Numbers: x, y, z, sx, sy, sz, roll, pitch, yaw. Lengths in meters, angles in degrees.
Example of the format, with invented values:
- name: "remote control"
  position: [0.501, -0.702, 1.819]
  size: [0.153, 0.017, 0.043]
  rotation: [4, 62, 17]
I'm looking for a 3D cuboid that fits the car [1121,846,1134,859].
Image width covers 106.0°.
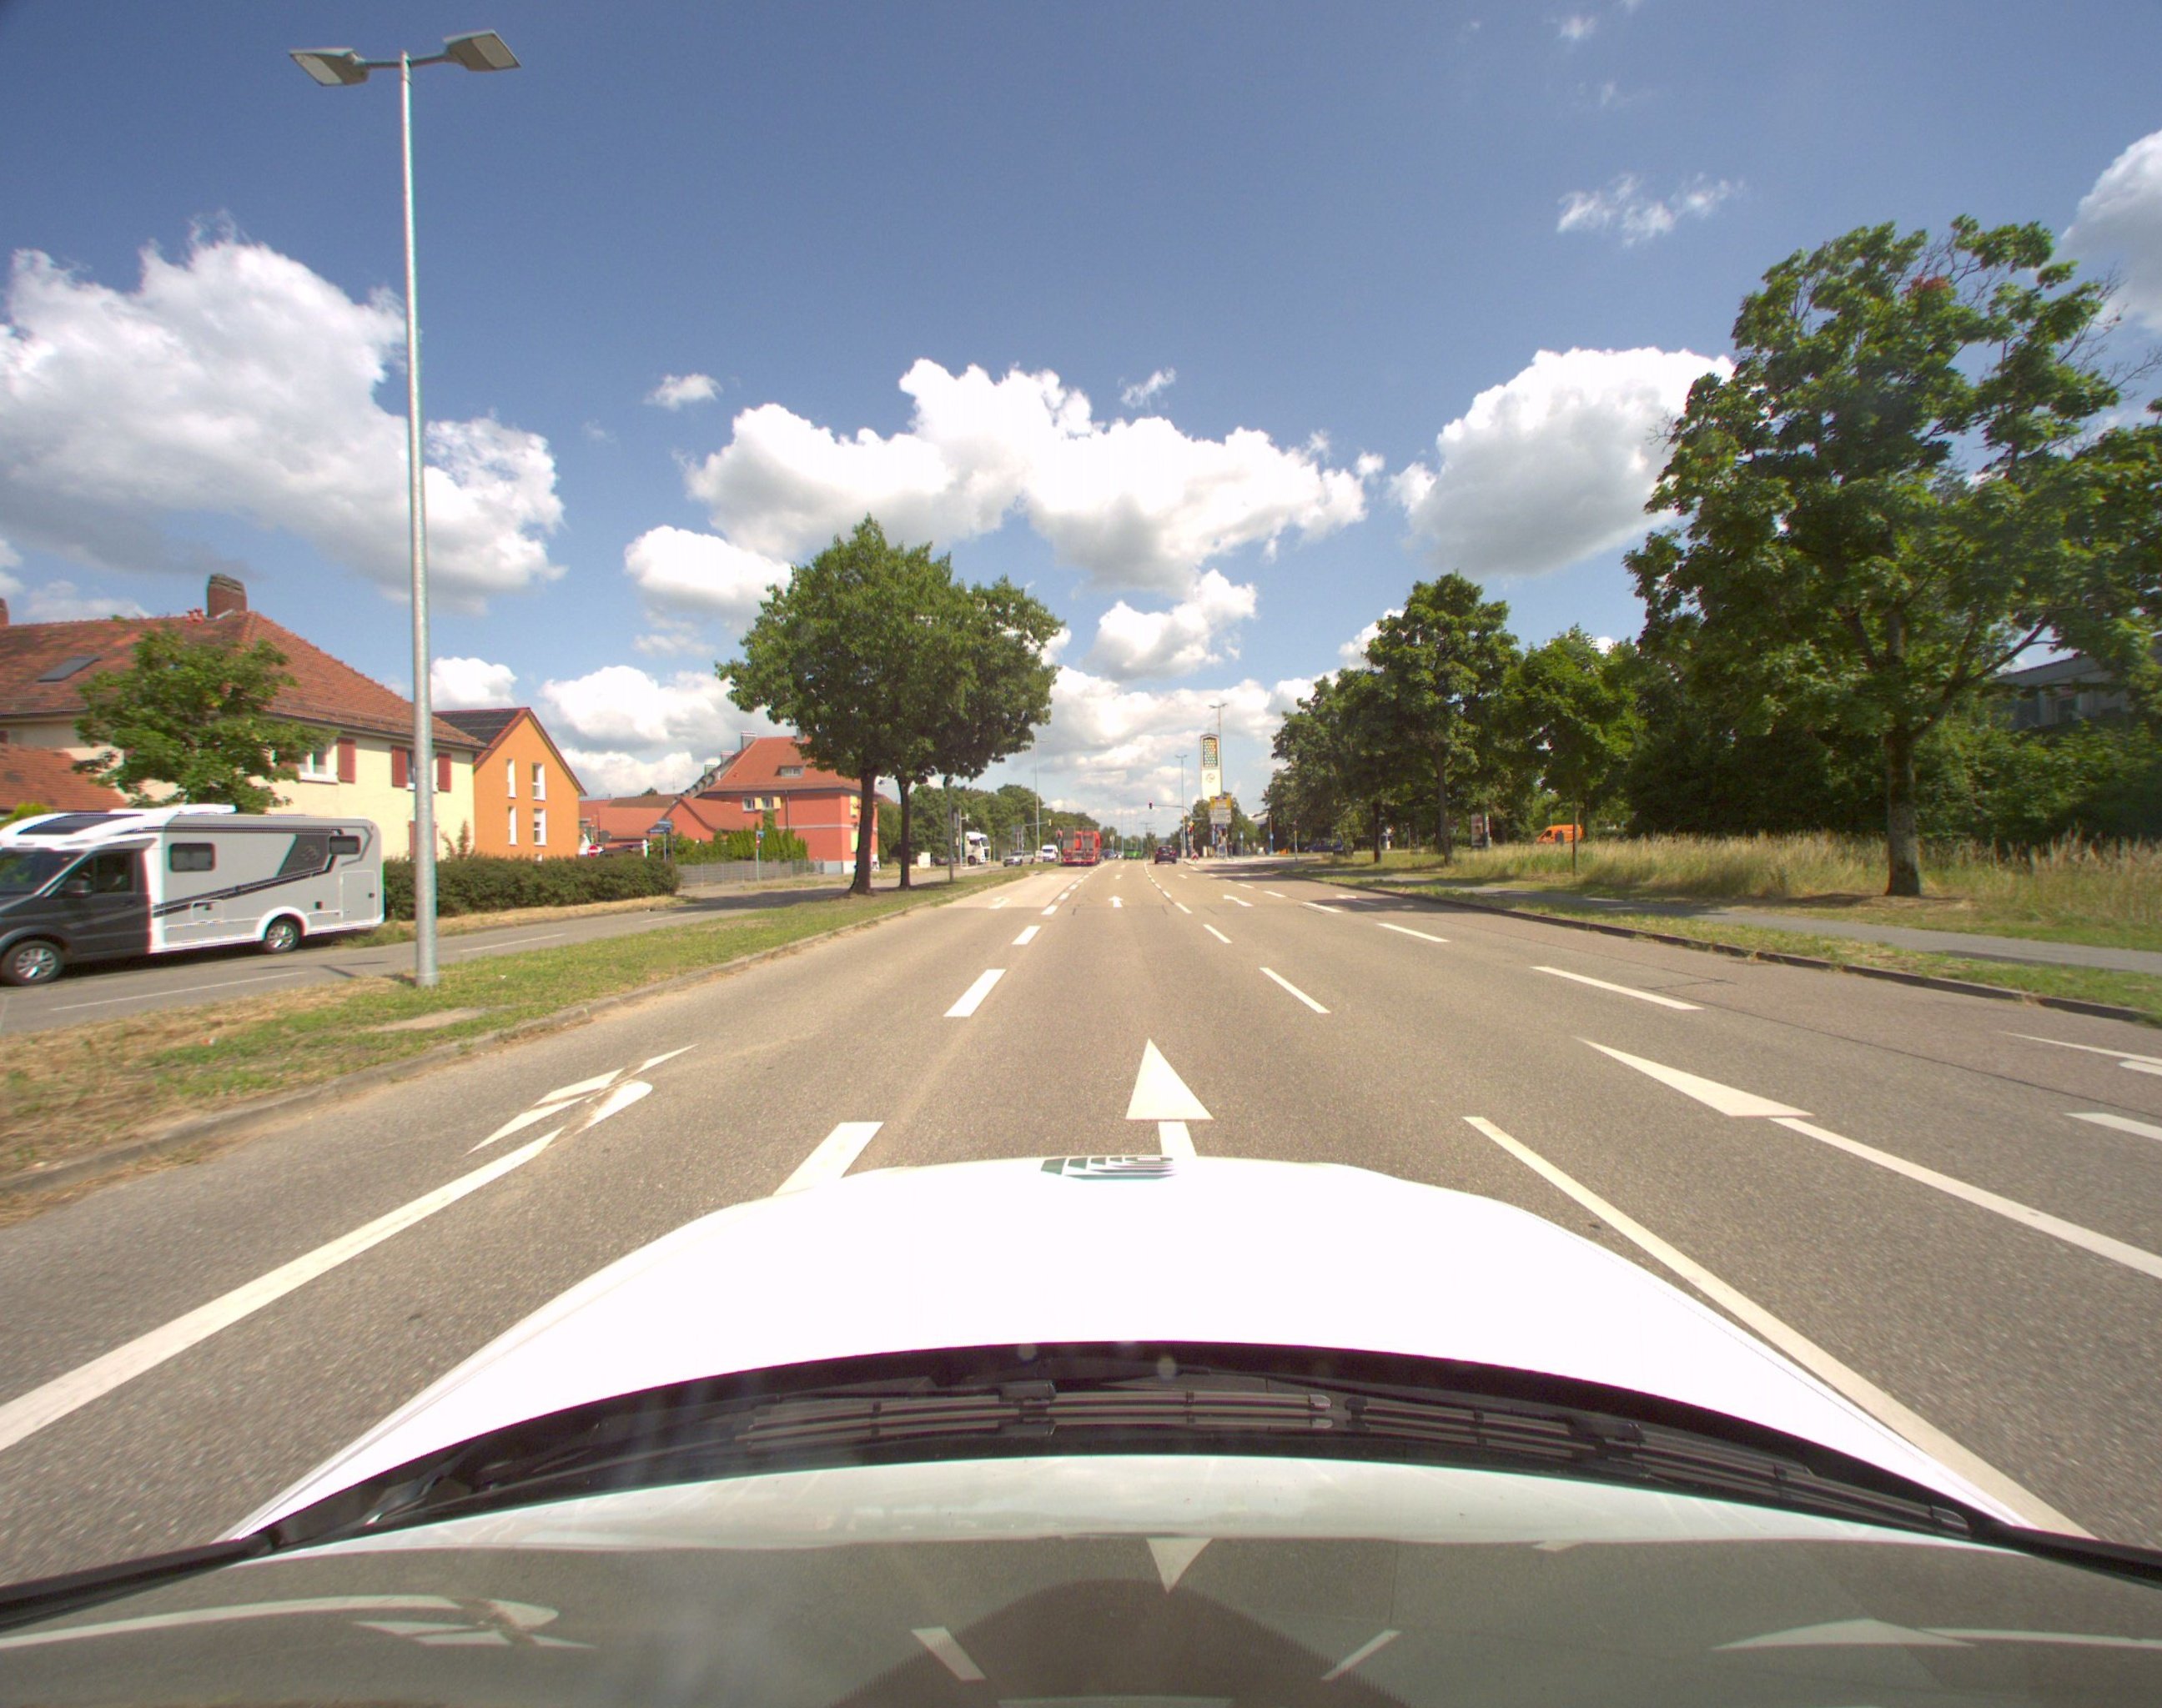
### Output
- name: "car"
  position: [6.003, -0.189, 105.379]
  size: [1.733, 1.669, 3.593]
  rotation: [0, 0, 3]

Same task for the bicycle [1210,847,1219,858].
- name: "bicycle"
  position: [13.477, -0.134, 82.110]
  size: [0.643, 1.107, 1.937]
  rotation: [0, -1, 19]

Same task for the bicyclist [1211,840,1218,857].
- name: "bicyclist"
  position: [13.417, -0.547, 81.929]
  size: [0.643, 1.661, 0.653]
  rotation: [0, -1, 19]

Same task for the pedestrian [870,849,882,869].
- name: "pedestrian"
  position: [-16.408, 0.431, 65.115]
  size: [0.693, 1.583, 0.852]
  rotation: [0, -1, 3]

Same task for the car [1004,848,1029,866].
- name: "car"
  position: [-6.227, 0.308, 79.563]
  size: [1.725, 1.508, 4.656]
  rotation: [-5, -1, 3]

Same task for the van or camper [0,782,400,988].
- name: "van or camper"
  position: [-17.283, 0.420, 15.477]
  size: [2.249, 3.112, 7.326]
  rotation: [0, 1, 3]

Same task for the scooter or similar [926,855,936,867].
- name: "scooter or similar"
  position: [-15.088, 0.671, 81.918]
  size: [0.587, 1.163, 1.763]
  rotation: [0, -1, 3]

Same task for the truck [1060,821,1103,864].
- name: "truck"
  position: [0.157, -0.879, 69.730]
  size: [3.058, 3.414, 11.077]
  rotation: [0, 0, 3]

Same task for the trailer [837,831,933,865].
- name: "trailer"
  position: [-24.184, -0.652, 100.586]
  size: [11.190, 4.012, 3.650]
  rotation: [-1, -1, 19]

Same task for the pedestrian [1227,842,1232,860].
- name: "pedestrian"
  position: [14.822, -0.288, 81.110]
  size: [0.461, 1.779, 0.484]
  rotation: [0, -1, 14]

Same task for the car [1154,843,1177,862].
- name: "car"
  position: [7.255, -0.090, 70.074]
  size: [1.792, 1.552, 4.003]
  rotation: [0, 0, 3]

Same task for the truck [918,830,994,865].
- name: "truck"
  position: [-14.985, -0.710, 97.488]
  size: [8.539, 3.971, 2.983]
  rotation: [-1, -1, 19]

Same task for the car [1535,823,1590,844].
- name: "car"
  position: [53.036, -2.216, 89.812]
  size: [4.807, 2.226, 2.221]
  rotation: [0, -1, 16]
